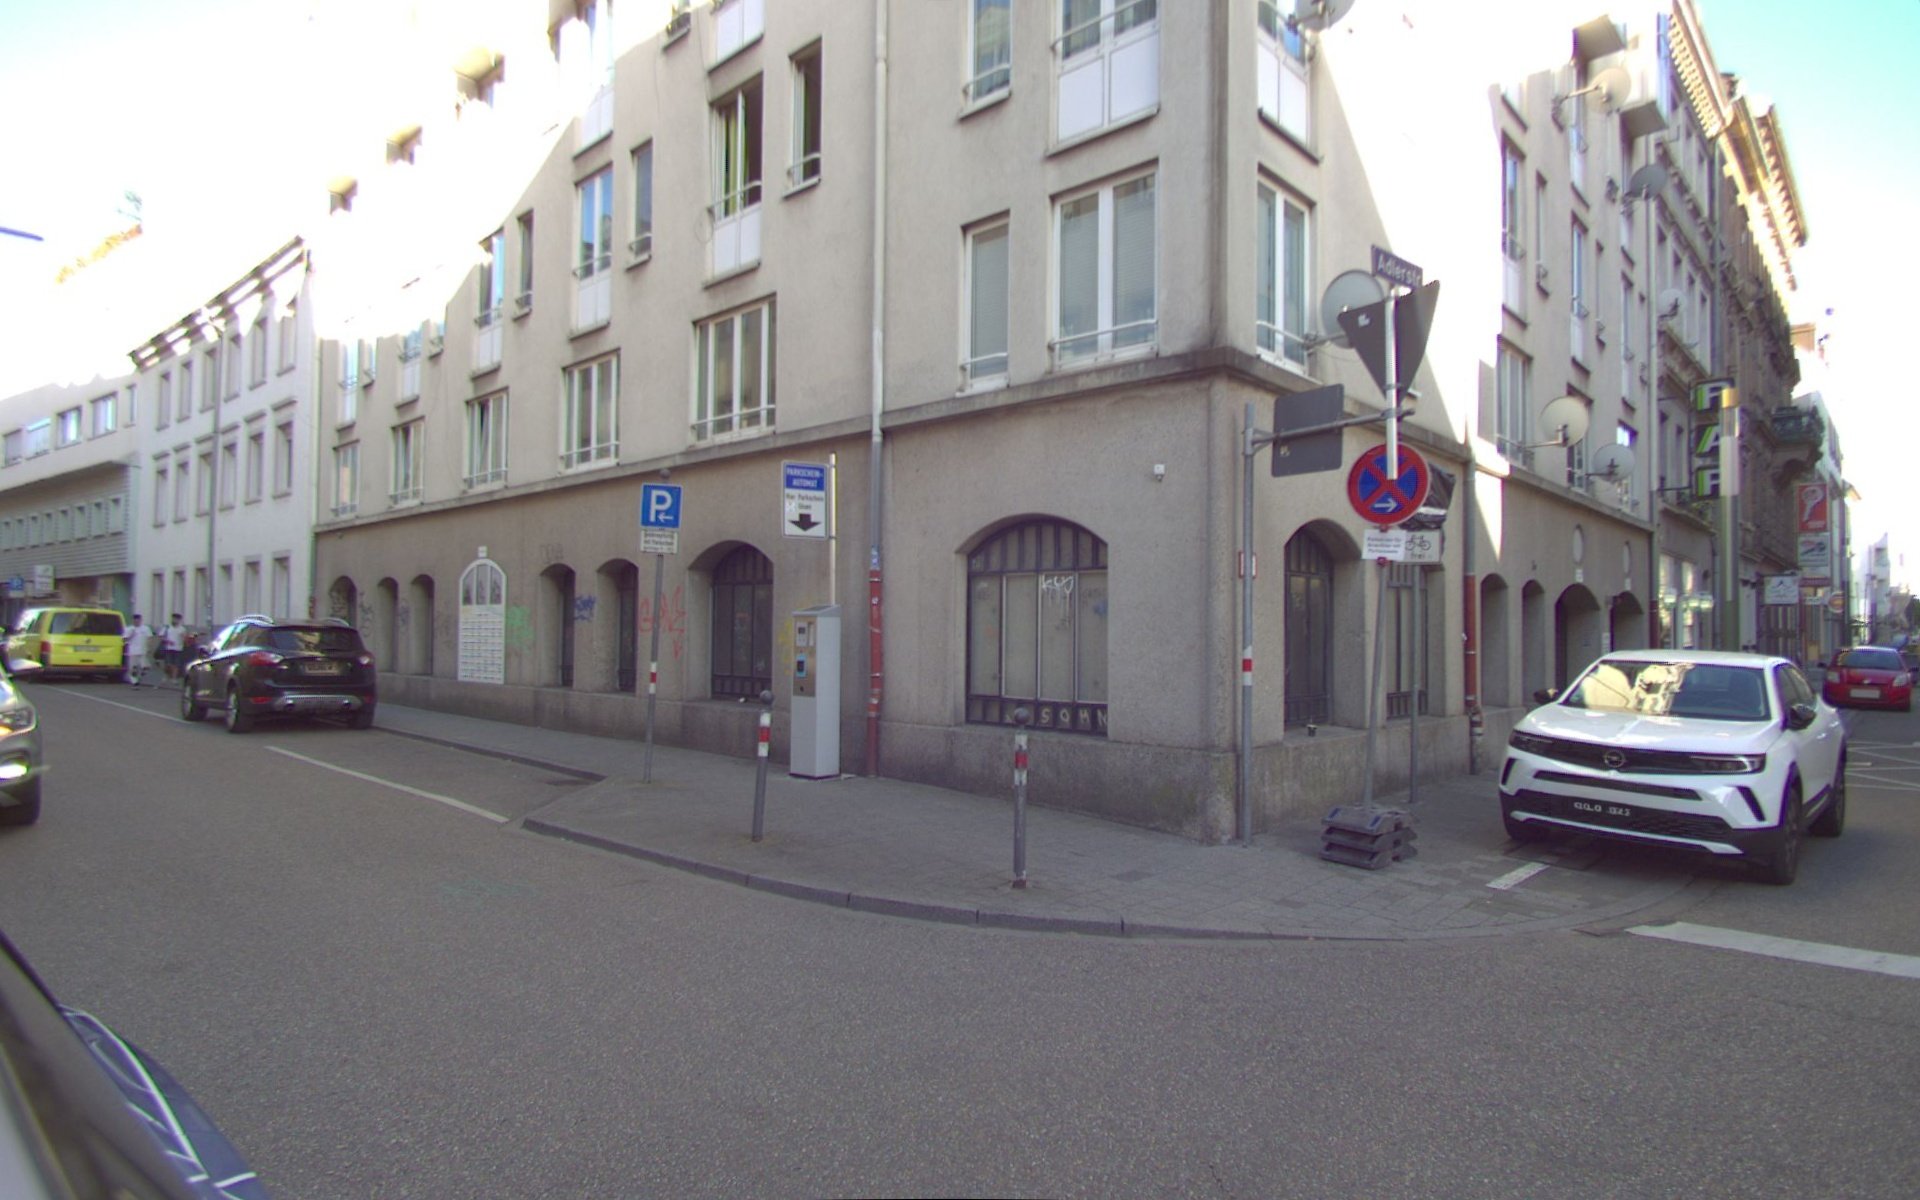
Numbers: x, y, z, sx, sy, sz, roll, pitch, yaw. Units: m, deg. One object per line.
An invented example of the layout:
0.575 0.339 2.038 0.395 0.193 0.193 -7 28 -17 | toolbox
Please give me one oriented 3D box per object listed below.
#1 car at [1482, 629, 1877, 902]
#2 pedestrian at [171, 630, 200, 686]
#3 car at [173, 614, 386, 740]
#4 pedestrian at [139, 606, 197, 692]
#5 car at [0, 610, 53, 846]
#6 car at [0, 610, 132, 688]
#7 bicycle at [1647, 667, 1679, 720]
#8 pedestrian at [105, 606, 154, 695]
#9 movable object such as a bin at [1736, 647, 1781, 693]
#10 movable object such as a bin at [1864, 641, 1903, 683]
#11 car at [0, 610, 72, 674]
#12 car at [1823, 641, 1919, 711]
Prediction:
5.844 1.076 8.042 3.908 1.605 1.746 3 -2 -42 | car
-20.556 1.532 26.859 0.548 1.459 0.583 2 -3 -39 | pedestrian
-10.726 1.125 15.854 4.000 1.717 1.863 -2 -4 43 | car
-19.271 1.187 24.636 0.698 2.029 0.925 -1 -3 40 | pedestrian
-8.260 0.877 7.510 3.997 1.558 1.740 -1 -1 40 | car
-23.375 1.246 26.372 3.994 1.888 1.865 -1 -3 38 | car
12.605 1.668 18.136 1.049 0.864 0.219 -1 0 -41 | bicycle
-19.433 1.181 23.679 0.698 2.029 0.706 -1 -3 40 | pedestrian
19.740 1.709 25.017 0.837 1.056 0.745 -1 0 40 | movable object such as a bin
35.738 2.378 39.172 1.083 1.555 0.896 0 -2 41 | movable object such as a bin
-28.132 1.230 30.033 3.994 1.781 1.865 -1 -5 38 | car
22.827 1.837 25.355 1.793 1.537 3.945 0 -1 41 | car
